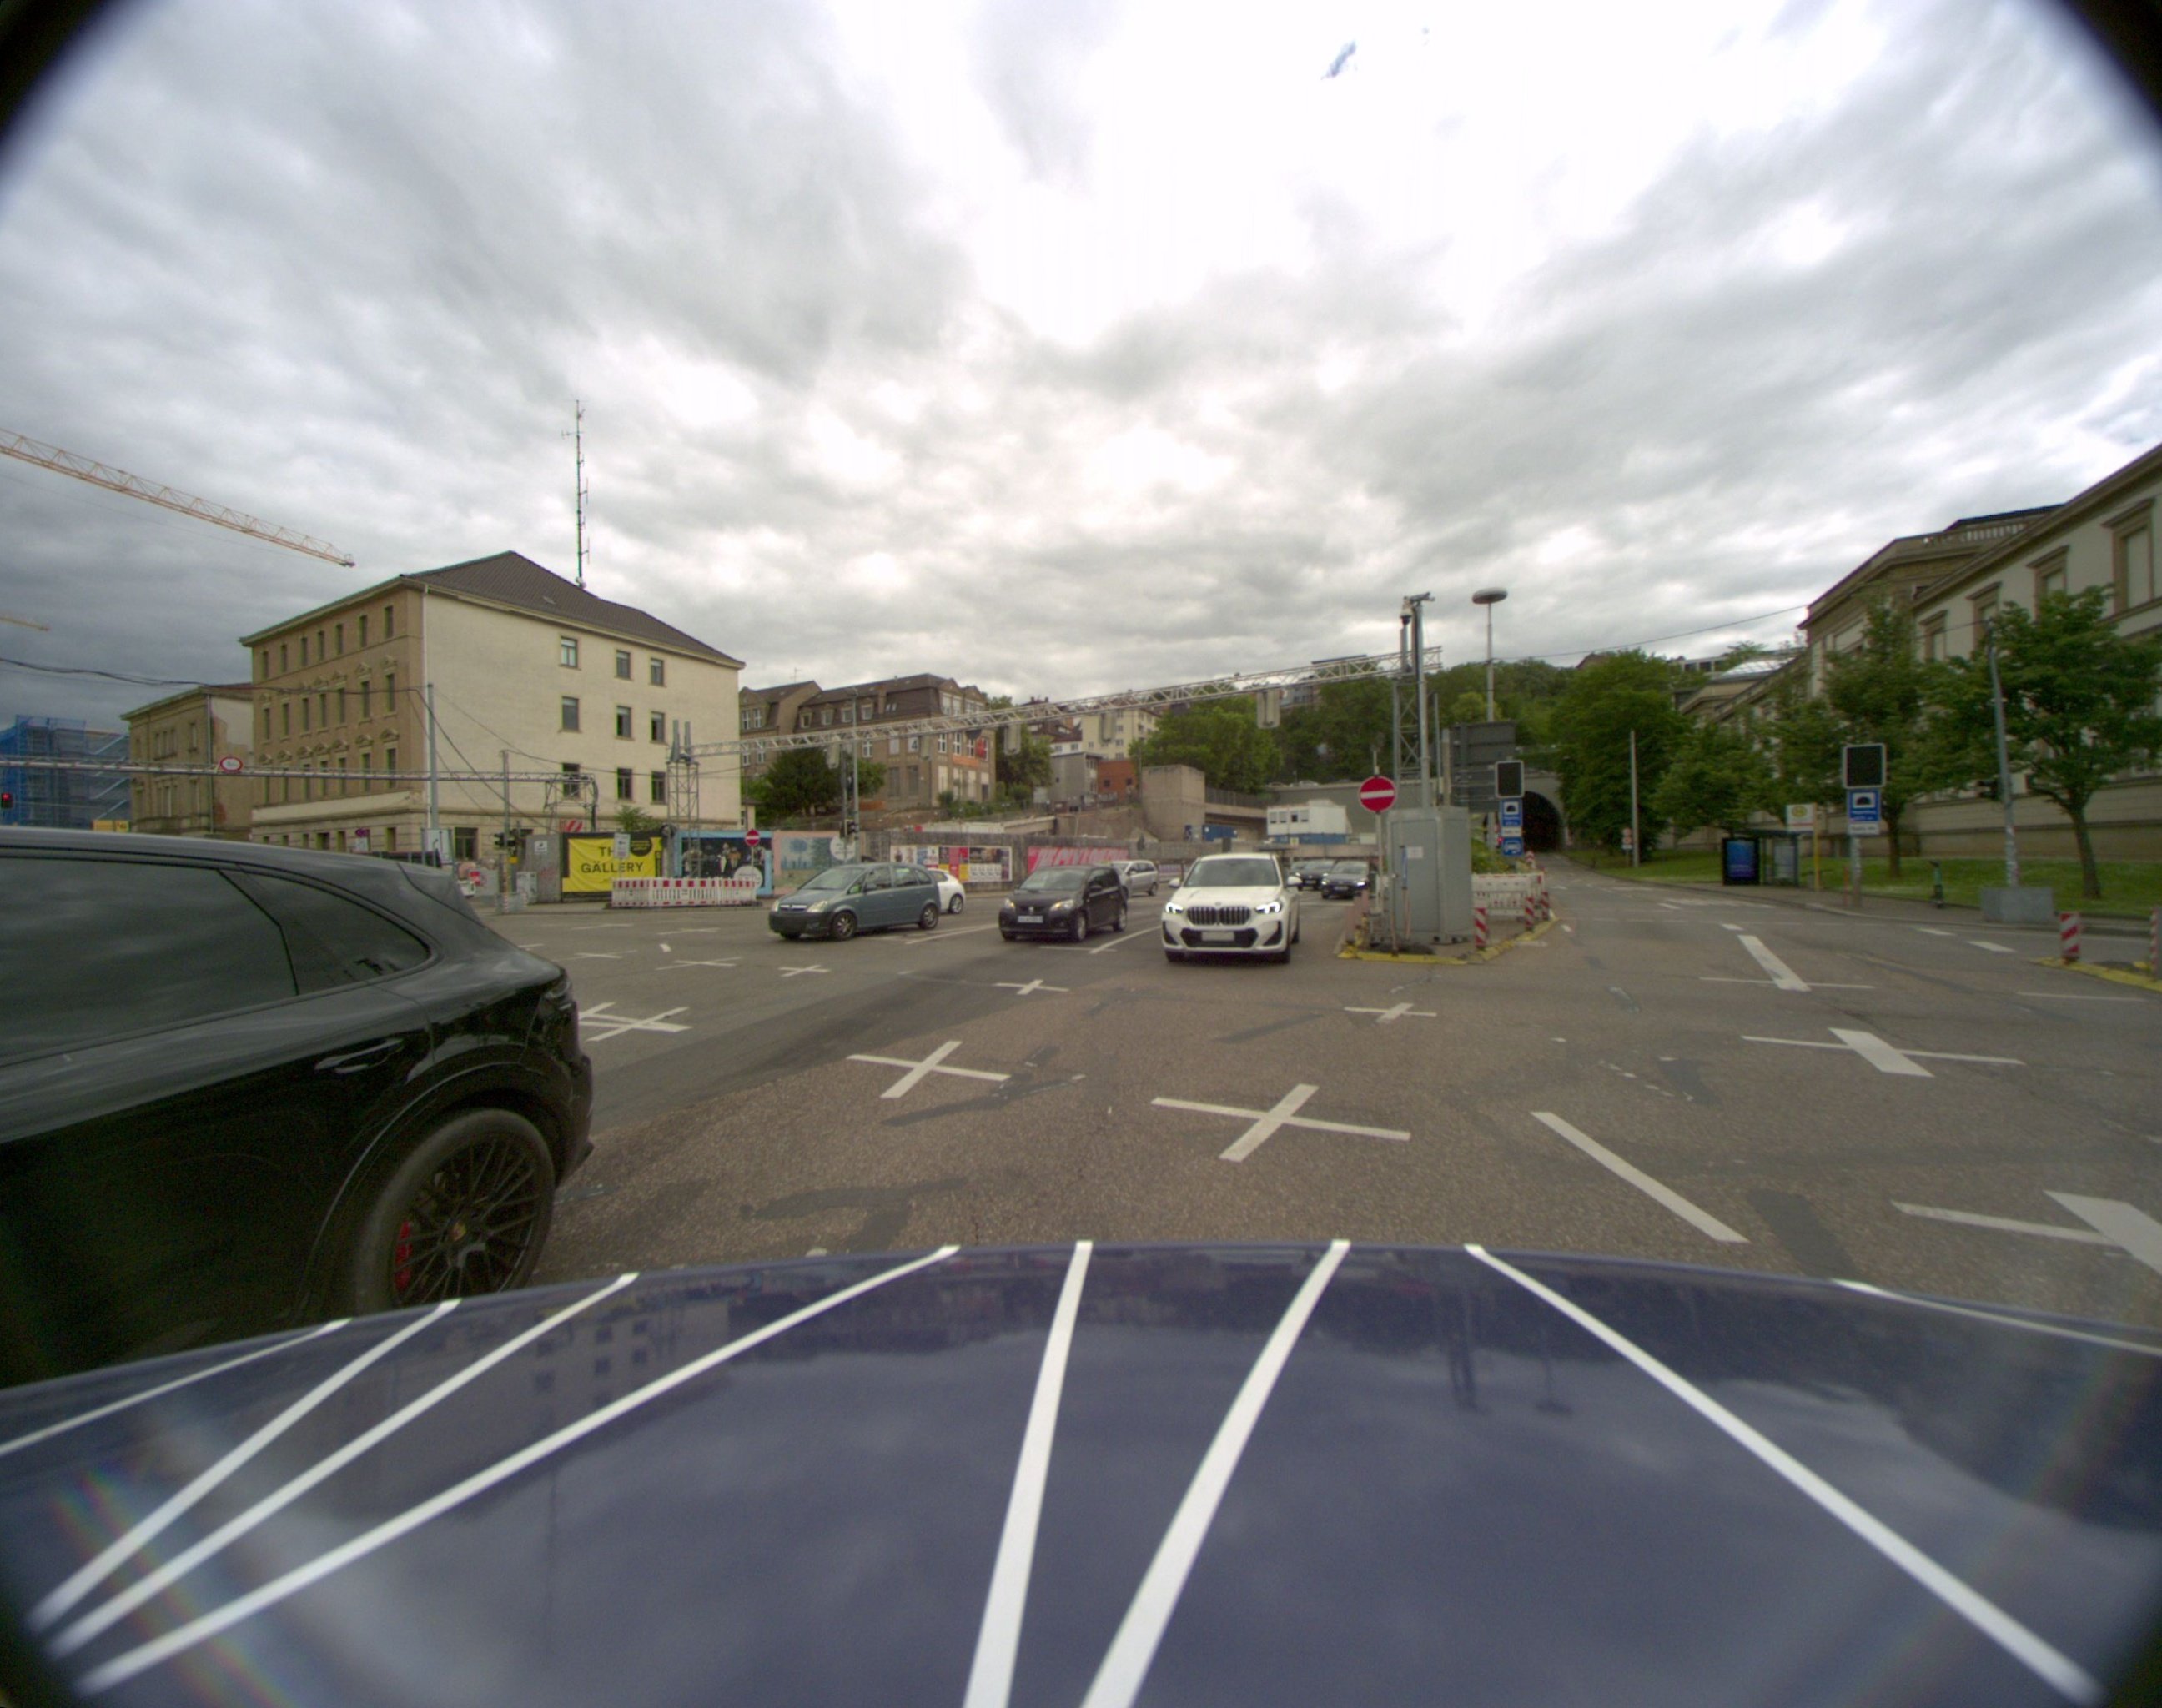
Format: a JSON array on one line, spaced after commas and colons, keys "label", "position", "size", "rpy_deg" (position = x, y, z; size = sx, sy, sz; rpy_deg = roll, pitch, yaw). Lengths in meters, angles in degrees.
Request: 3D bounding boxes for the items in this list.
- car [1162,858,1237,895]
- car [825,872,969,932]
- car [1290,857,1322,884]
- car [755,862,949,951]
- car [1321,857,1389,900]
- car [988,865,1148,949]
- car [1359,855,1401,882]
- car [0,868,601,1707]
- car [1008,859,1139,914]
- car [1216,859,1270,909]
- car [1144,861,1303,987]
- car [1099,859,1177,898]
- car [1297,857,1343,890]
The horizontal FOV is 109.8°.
[{"label": "car", "position": [5.412, 0.972, 34.276], "size": [1.806, 1.569, 4.448], "rpy_deg": [0, 0, 31]}, {"label": "car", "position": [-5.206, 1.332, 22.040], "size": [1.688, 1.408, 4.094], "rpy_deg": [-2, 0, 29]}, {"label": "car", "position": [13.430, 0.967, 45.519], "size": [1.689, 1.564, 3.998], "rpy_deg": [0, 0, 14]}, {"label": "car", "position": [-4.828, 1.026, 16.582], "size": [1.688, 1.565, 3.962], "rpy_deg": [0, 1, 30]}, {"label": "car", "position": [10.751, 0.900, 29.640], "size": [1.995, 1.543, 4.007], "rpy_deg": [-1, 0, 27]}, {"label": "car", "position": [-0.095, 0.984, 15.971], "size": [1.730, 1.461, 4.426], "rpy_deg": [0, 0, 23]}, {"label": "car", "position": [18.305, 0.866, 46.443], "size": [1.688, 1.564, 4.002], "rpy_deg": [0, 0, 32]}, {"label": "car", "position": [-2.968, 0.909, 0.740], "size": [1.955, 1.638, 4.608], "rpy_deg": [-1, 1, 2]}, {"label": "car", "position": [-0.105, 0.960, 24.212], "size": [1.906, 1.569, 4.693], "rpy_deg": [0, 0, 32]}, {"label": "car", "position": [5.551, 0.969, 25.830], "size": [1.689, 1.564, 3.717], "rpy_deg": [0, 0, 13]}, {"label": "car", "position": [2.343, 0.901, 11.667], "size": [1.809, 1.595, 3.719], "rpy_deg": [0, 0, 20]}, {"label": "car", "position": [2.617, 1.060, 34.059], "size": [1.688, 1.564, 4.079], "rpy_deg": [-2, -1, 32]}, {"label": "car", "position": [11.886, 0.927, 37.578], "size": [1.995, 1.543, 4.006], "rpy_deg": [-1, 0, 20]}]
